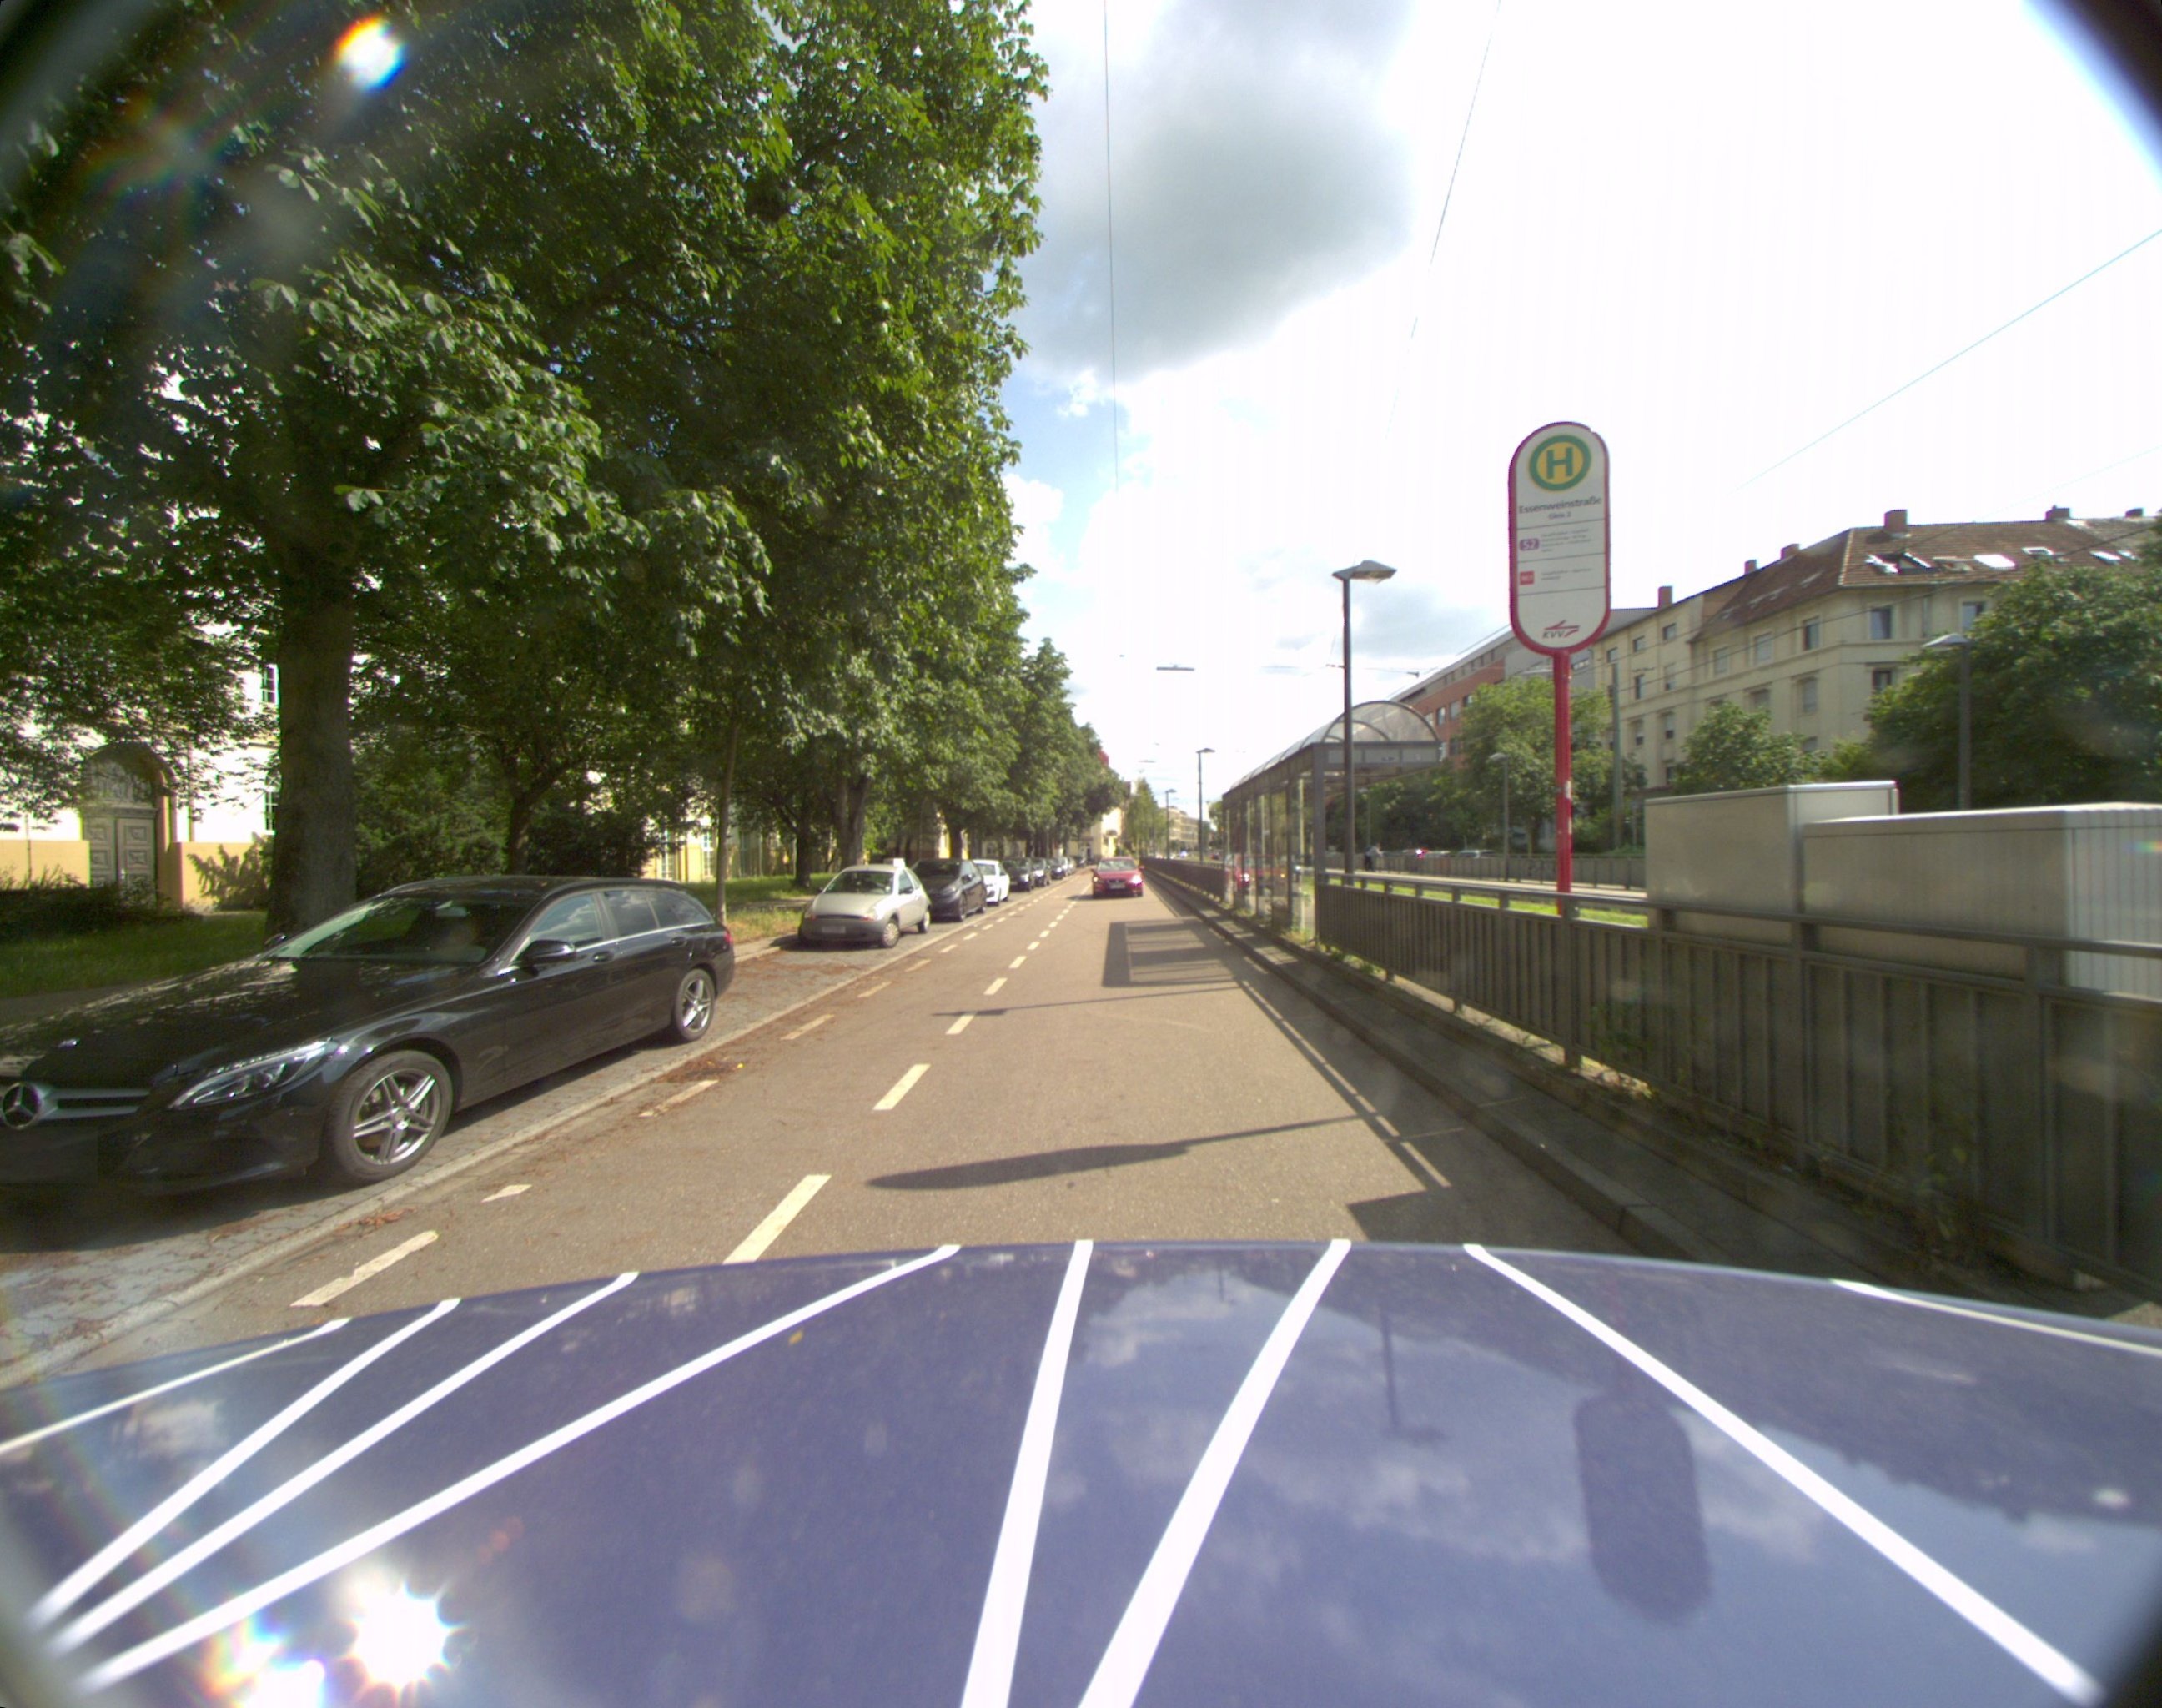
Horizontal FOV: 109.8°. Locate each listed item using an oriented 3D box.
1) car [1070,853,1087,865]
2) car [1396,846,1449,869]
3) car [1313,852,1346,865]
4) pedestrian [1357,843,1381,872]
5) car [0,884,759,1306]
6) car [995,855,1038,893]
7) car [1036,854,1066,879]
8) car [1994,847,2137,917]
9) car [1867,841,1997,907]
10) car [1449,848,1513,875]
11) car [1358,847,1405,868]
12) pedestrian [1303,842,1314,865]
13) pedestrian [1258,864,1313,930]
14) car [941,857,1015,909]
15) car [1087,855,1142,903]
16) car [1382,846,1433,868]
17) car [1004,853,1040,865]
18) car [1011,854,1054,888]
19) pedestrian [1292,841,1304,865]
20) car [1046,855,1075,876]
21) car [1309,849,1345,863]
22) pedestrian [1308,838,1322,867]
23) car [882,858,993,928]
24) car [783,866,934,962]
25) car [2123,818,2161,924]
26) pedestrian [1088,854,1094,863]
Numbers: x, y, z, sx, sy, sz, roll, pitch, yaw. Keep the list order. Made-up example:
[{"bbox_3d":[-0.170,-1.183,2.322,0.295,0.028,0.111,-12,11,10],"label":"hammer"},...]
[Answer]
[{"bbox_3d":[-0.279,0.572,89.268,1.689,1.379,3.924,0,1,3],"label":"car"},{"bbox_3d":[25.517,0.246,56.717,4.144,1.630,1.829,-1,1,-37],"label":"car"},{"bbox_3d":[26.282,0.438,80.311,3.258,1.296,1.600,-1,0,-32],"label":"car"},{"bbox_3d":[15.614,0.195,41.170,0.991,1.569,0.798,-1,1,0],"label":"pedestrian"},{"bbox_3d":[-4.348,1.046,5.410,1.922,1.433,4.797,1,0,2],"label":"car"},{"bbox_3d":[-2.836,0.857,34.126,1.559,1.453,3.558,2,1,0],"label":"car"},{"bbox_3d":[-1.949,0.808,50.900,1.836,1.458,4.829,1,1,-1],"label":"car"},{"bbox_3d":[23.519,0.605,18.127,4.006,1.477,1.606,-1,0,-30],"label":"car"},{"bbox_3d":[23.368,0.505,20.832,4.007,1.630,1.823,-1,-1,-34],"label":"car"},{"bbox_3d":[24.793,0.454,47.069,4.161,1.556,1.921,-1,1,-38],"label":"car"},{"bbox_3d":[25.846,0.299,65.320,4.006,1.520,1.669,-3,0,-34],"label":"car"},{"bbox_3d":[16.395,-0.026,54.794,0.608,1.665,0.625,-1,1,3],"label":"pedestrian"},{"bbox_3d":[3.459,0.713,12.838,0.662,1.066,0.725,-1,0,37],"label":"pedestrian"},{"bbox_3d":[-3.352,0.895,25.401,1.840,1.515,4.253,1,0,0],"label":"car"},{"bbox_3d":[1.215,0.830,27.339,1.790,1.499,4.000,-2,0,3],"label":"car"},{"bbox_3d":[25.618,0.225,59.611,4.006,1.559,1.606,-1,0,-31],"label":"car"},{"bbox_3d":[-8.592,0.724,111.401,4.827,1.646,1.858,-1,2,13],"label":"car"},{"bbox_3d":[-2.430,0.824,39.309,1.694,1.552,4.308,2,0,3],"label":"car"},{"bbox_3d":[15.673,-0.075,54.947,0.607,1.744,0.626,0,2,43],"label":"pedestrian"},{"bbox_3d":[-1.484,0.831,56.829,1.639,1.423,4.016,2,0,5],"label":"car"},{"bbox_3d":[27.144,0.223,83.873,4.007,1.487,1.647,-1,0,-34],"label":"car"},{"bbox_3d":[15.482,-0.080,50.194,0.752,1.881,0.639,-1,3,5],"label":"pedestrian"},{"bbox_3d":[-3.572,0.905,19.804,1.729,1.574,4.678,0,0,3],"label":"car"},{"bbox_3d":[-3.979,1.004,14.173,1.594,1.437,3.598,1,1,3],"label":"car"},{"bbox_3d":[22.927,0.295,15.131,3.957,2.058,2.045,-1,0,-28],"label":"car"},{"bbox_3d":[1.519,0.673,112.899,0.804,1.238,0.892,-1,2,5],"label":"pedestrian"}]
